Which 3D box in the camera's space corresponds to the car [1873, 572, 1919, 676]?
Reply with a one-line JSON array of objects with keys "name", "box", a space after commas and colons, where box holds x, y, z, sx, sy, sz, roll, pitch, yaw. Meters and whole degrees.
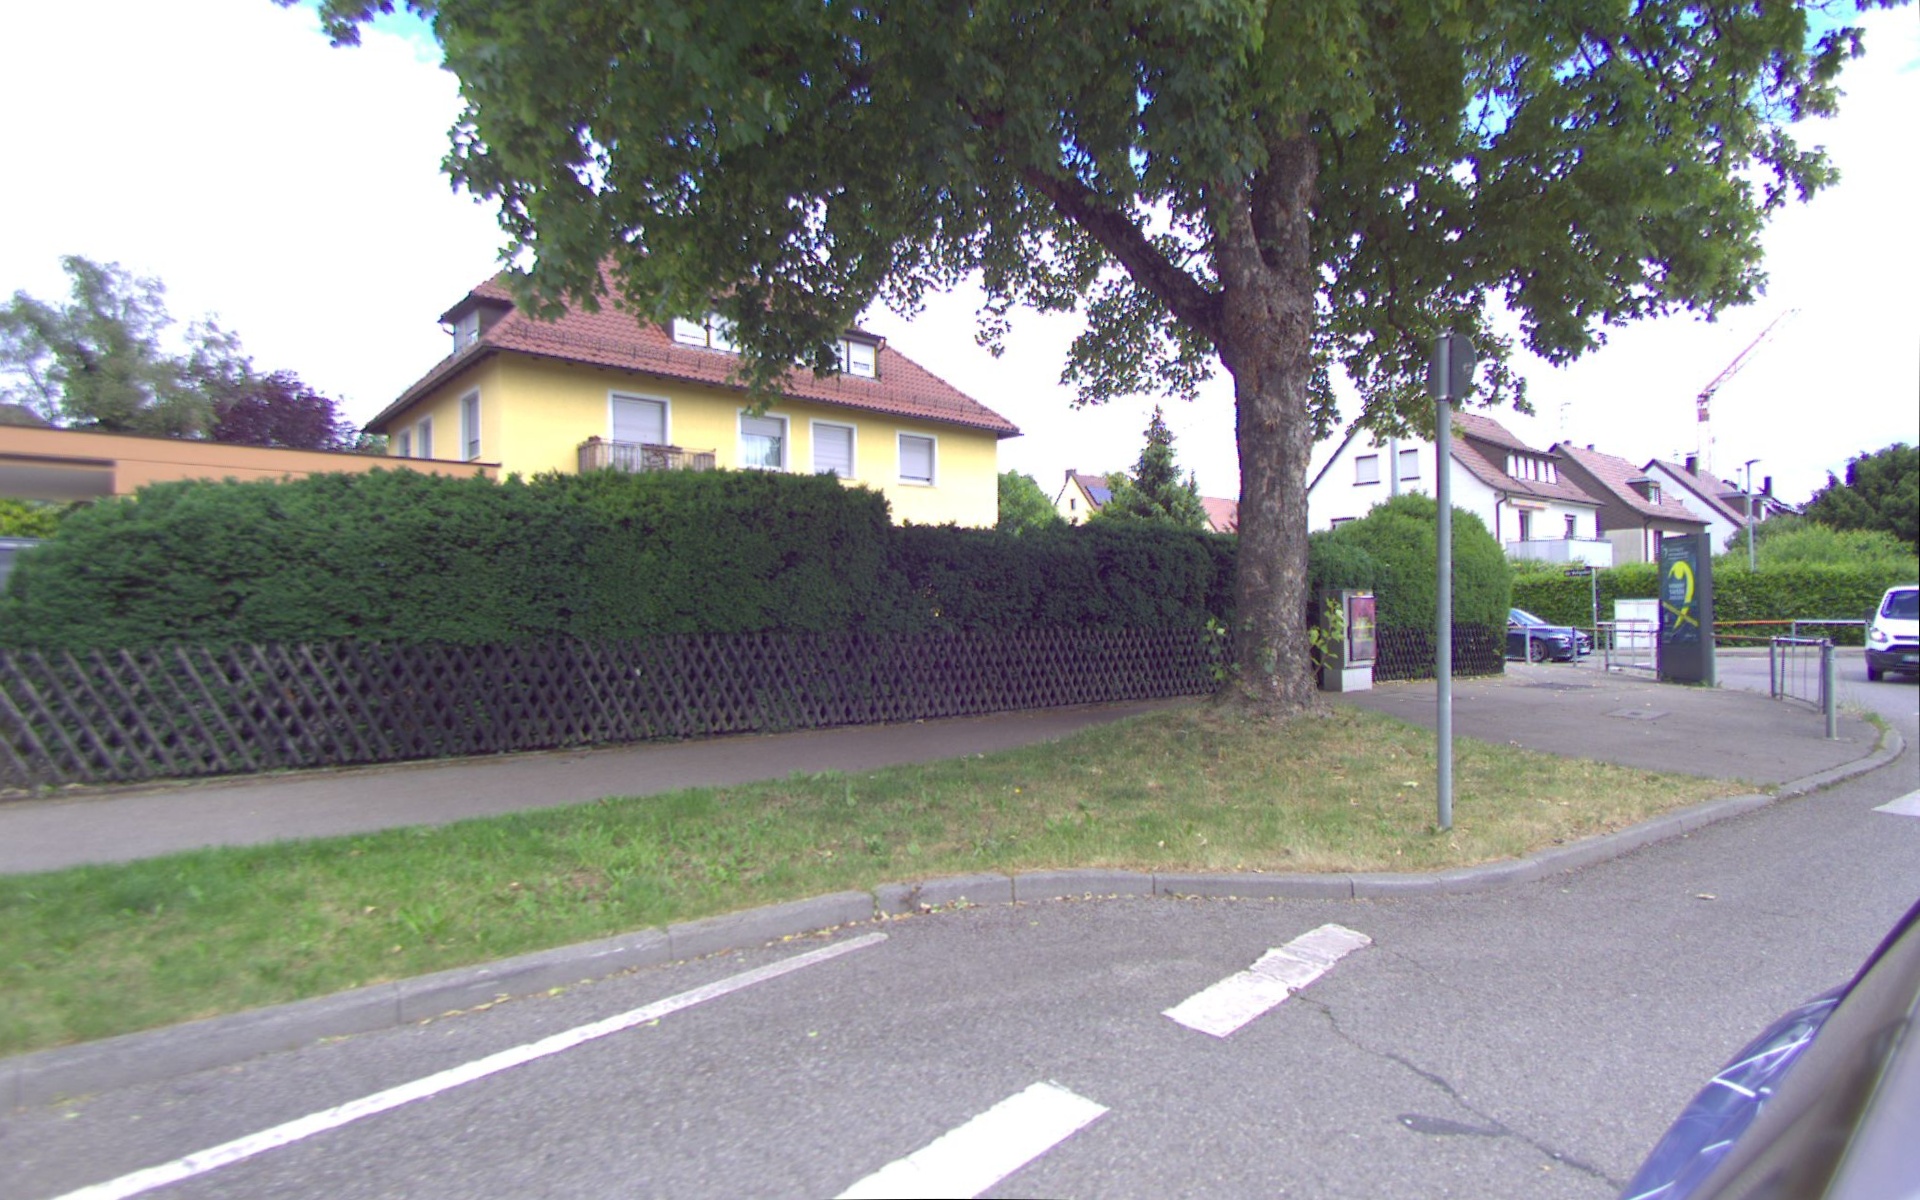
[{"name": "car", "box": [20.846, 0.469, 20.992, 4.958, 2.039, 1.998, 0, -1, -38]}]

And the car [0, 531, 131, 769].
[{"name": "car", "box": [-9.377, 0.422, 7.922, 4.386, 1.905, 1.820, 0, -2, -38]}]

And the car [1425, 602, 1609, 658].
[{"name": "car", "box": [15.648, 0.814, 28.654, 1.553, 1.467, 4.321, 1, -1, -34]}]
